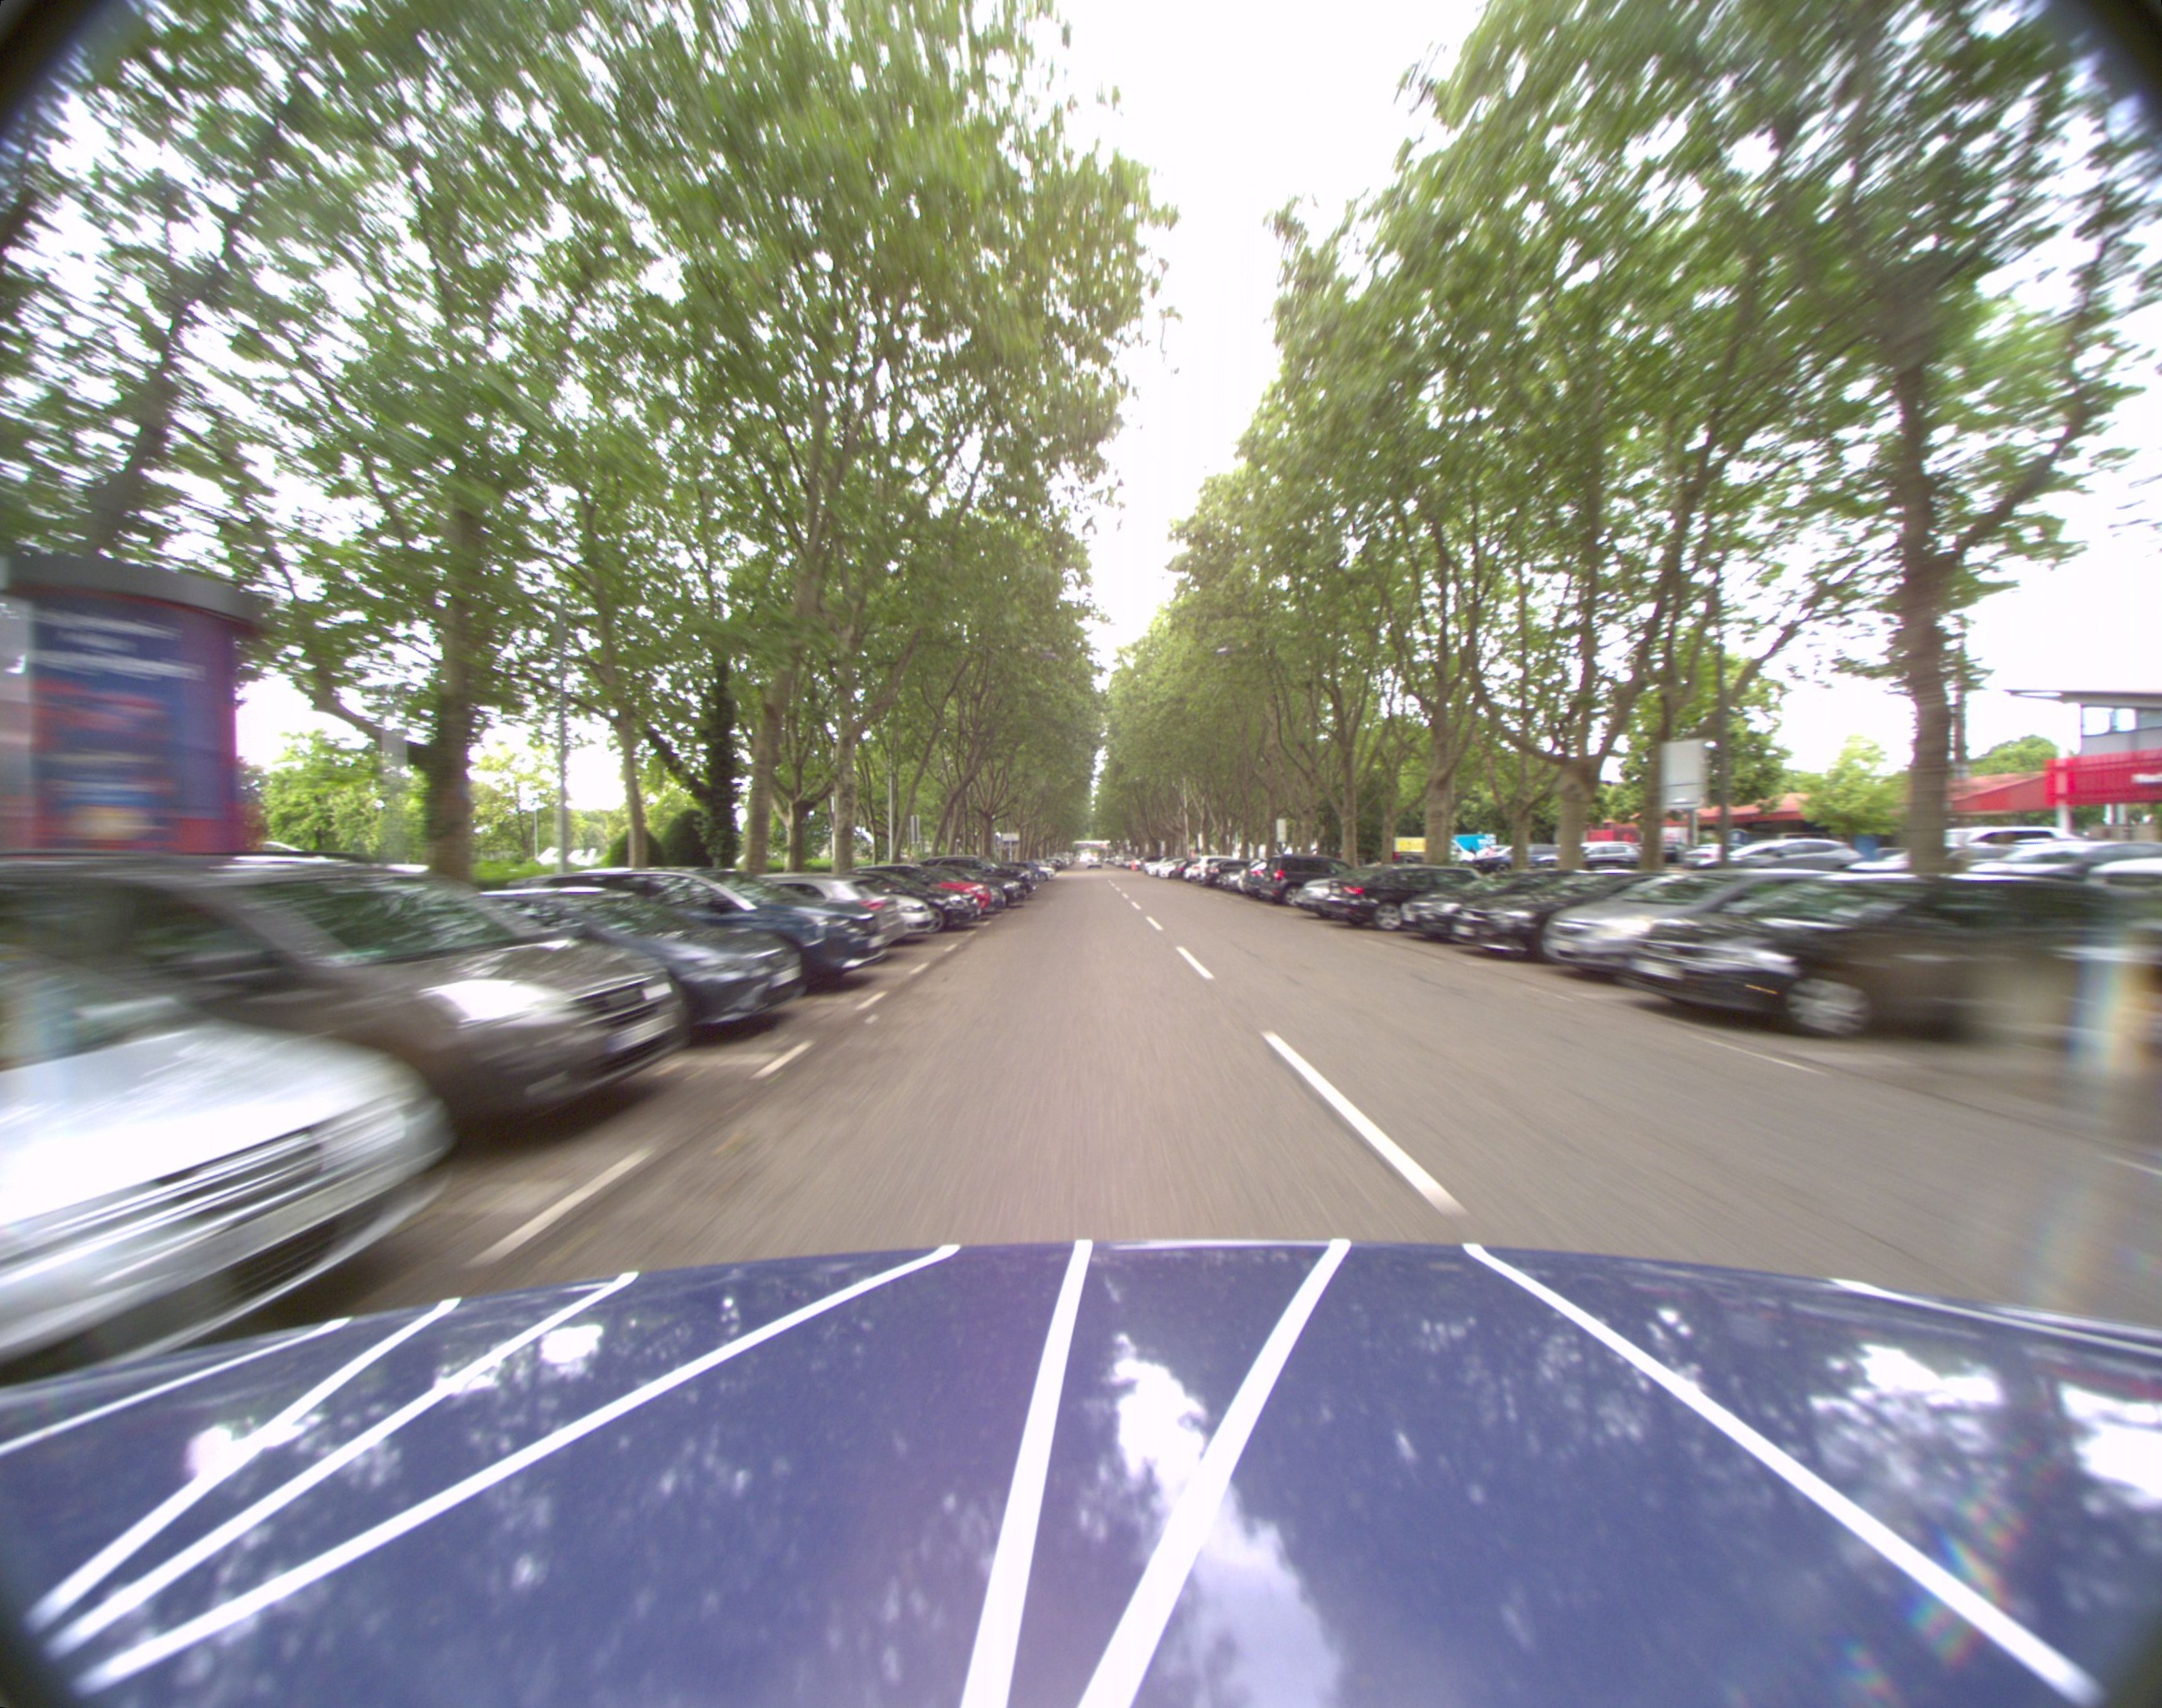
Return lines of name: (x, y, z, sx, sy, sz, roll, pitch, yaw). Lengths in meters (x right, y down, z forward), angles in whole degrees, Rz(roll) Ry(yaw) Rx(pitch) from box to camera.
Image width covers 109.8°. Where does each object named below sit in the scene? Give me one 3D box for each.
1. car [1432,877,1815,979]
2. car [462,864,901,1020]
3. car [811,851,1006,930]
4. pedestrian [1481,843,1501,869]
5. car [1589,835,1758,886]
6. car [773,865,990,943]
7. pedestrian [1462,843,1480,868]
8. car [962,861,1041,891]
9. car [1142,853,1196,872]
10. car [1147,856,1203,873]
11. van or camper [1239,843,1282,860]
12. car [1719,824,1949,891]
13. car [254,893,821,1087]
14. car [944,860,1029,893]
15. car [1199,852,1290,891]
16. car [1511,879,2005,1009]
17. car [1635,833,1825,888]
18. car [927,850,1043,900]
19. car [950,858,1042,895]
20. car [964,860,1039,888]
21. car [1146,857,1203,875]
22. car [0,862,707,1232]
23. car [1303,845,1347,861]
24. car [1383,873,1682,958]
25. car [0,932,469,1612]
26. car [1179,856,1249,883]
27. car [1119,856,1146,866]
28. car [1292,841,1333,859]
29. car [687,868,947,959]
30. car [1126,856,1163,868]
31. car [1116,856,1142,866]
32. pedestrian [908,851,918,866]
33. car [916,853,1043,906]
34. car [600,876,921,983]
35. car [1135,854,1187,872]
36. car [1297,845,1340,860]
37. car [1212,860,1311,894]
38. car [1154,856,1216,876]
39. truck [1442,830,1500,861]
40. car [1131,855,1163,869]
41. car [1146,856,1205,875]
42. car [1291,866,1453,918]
car: (8.066, 1.066, 11.661, 4.473, 1.340, 1.902, 1, 0, 2)
car: (-4.872, 1.044, 9.728, 4.602, 1.629, 1.873, -2, 0, 3)
car: (-4.419, 0.929, 19.946, 4.505, 1.786, 2.048, -2, 0, 5)
pedestrian: (29.796, 0.136, 55.262, 0.944, 1.790, 0.918, -2, 2, 1)
car: (23.105, 0.225, 29.767, 4.955, 1.786, 2.182, -2, 1, -2)
car: (-4.445, 1.099, 17.388, 4.356, 1.493, 1.926, -2, 0, 3)
pedestrian: (28.571, 0.106, 55.602, 0.819, 1.790, 0.918, -2, 1, 1)
car: (-4.350, 1.210, 42.250, 4.207, 1.447, 1.785, -2, 0, -3)
car: (7.712, 0.772, 66.535, 4.420, 1.616, 2.047, 1, 0, -3)
car: (7.929, 0.869, 64.160, 4.420, 1.387, 2.047, 1, 0, -3)
van or camper: (24.349, -0.355, 103.173, 5.299, 2.087, 2.244, -2, 1, -2)
car: (22.872, 0.090, 23.221, 4.955, 1.786, 2.182, -2, 1, -2)
car: (-4.806, 1.178, 7.157, 4.050, 1.372, 1.744, -2, 0, 1)
car: (-4.913, 1.177, 39.891, 4.207, 1.509, 1.785, -2, 0, -3)
car: (7.874, 0.829, 36.904, 3.996, 1.672, 1.855, -2, 1, 2)
car: (8.149, 1.043, 9.489, 4.474, 1.361, 1.880, 1, 0, 0)
car: (22.951, 0.226, 27.001, 4.955, 1.786, 2.183, -1, 0, -2)
car: (-4.009, 0.879, 32.148, 4.506, 1.855, 2.048, -2, 0, 2)
car: (-4.129, 1.075, 37.332, 4.206, 1.510, 1.785, -3, 1, 0)
car: (-4.629, 1.161, 44.699, 4.207, 1.447, 1.785, -2, 0, -3)
car: (7.609, 0.992, 61.943, 4.419, 1.387, 1.724, 1, 0, -2)
car: (-4.993, 1.010, 4.712, 4.357, 1.735, 1.837, -2, 0, -1)
car: (34.729, -0.139, 108.119, 5.466, 1.986, 2.475, -2, 1, -2)
car: (8.283, 1.103, 14.235, 4.475, 1.358, 1.859, 1, 0, -1)
car: (-4.615, 1.127, 2.253, 4.159, 1.449, 1.727, -2, 0, 1)
car: (8.197, 0.944, 46.975, 3.996, 1.445, 1.856, -2, 1, 2)
car: (7.674, 1.083, 114.160, 4.039, 1.518, 1.800, 1, -1, 2)
car: (35.207, -0.566, 115.511, 5.466, 2.502, 2.393, -2, 1, -2)
car: (-5.053, 1.120, 14.899, 4.355, 1.493, 1.927, -2, 0, 7)
car: (8.045, 1.060, 97.018, 4.575, 1.425, 2.090, 1, 0, 2)
car: (7.516, 1.110, 119.503, 3.996, 1.422, 2.001, 1, -1, 2)
pedestrian: (-17.436, 0.433, 78.928, 0.724, 1.558, 0.698, -2, 1, 7)
car: (-3.803, 0.954, 29.152, 4.506, 1.786, 2.047, -2, 0, 0)
car: (-5.024, 1.165, 12.383, 4.357, 1.405, 1.926, -2, 0, 1)
car: (7.288, 0.811, 69.481, 4.419, 1.616, 2.047, 1, 0, -1)
car: (35.233, -0.192, 112.823, 5.466, 2.009, 2.393, -2, 1, -2)
car: (8.085, 1.006, 34.360, 3.997, 1.361, 1.843, -2, 1, -1)
car: (7.730, 0.900, 56.766, 4.418, 1.409, 1.784, 1, 0, 2)
truck: (35.499, -0.789, 69.277, 3.997, 2.701, 2.376, -2, 1, -1)
car: (7.736, 0.976, 89.286, 3.565, 1.569, 1.847, 1, 0, 2)
car: (7.328, 0.882, 59.229, 4.419, 1.416, 1.776, 1, 0, -1)
car: (8.248, 1.058, 21.815, 3.941, 1.356, 1.827, 1, 0, -1)
